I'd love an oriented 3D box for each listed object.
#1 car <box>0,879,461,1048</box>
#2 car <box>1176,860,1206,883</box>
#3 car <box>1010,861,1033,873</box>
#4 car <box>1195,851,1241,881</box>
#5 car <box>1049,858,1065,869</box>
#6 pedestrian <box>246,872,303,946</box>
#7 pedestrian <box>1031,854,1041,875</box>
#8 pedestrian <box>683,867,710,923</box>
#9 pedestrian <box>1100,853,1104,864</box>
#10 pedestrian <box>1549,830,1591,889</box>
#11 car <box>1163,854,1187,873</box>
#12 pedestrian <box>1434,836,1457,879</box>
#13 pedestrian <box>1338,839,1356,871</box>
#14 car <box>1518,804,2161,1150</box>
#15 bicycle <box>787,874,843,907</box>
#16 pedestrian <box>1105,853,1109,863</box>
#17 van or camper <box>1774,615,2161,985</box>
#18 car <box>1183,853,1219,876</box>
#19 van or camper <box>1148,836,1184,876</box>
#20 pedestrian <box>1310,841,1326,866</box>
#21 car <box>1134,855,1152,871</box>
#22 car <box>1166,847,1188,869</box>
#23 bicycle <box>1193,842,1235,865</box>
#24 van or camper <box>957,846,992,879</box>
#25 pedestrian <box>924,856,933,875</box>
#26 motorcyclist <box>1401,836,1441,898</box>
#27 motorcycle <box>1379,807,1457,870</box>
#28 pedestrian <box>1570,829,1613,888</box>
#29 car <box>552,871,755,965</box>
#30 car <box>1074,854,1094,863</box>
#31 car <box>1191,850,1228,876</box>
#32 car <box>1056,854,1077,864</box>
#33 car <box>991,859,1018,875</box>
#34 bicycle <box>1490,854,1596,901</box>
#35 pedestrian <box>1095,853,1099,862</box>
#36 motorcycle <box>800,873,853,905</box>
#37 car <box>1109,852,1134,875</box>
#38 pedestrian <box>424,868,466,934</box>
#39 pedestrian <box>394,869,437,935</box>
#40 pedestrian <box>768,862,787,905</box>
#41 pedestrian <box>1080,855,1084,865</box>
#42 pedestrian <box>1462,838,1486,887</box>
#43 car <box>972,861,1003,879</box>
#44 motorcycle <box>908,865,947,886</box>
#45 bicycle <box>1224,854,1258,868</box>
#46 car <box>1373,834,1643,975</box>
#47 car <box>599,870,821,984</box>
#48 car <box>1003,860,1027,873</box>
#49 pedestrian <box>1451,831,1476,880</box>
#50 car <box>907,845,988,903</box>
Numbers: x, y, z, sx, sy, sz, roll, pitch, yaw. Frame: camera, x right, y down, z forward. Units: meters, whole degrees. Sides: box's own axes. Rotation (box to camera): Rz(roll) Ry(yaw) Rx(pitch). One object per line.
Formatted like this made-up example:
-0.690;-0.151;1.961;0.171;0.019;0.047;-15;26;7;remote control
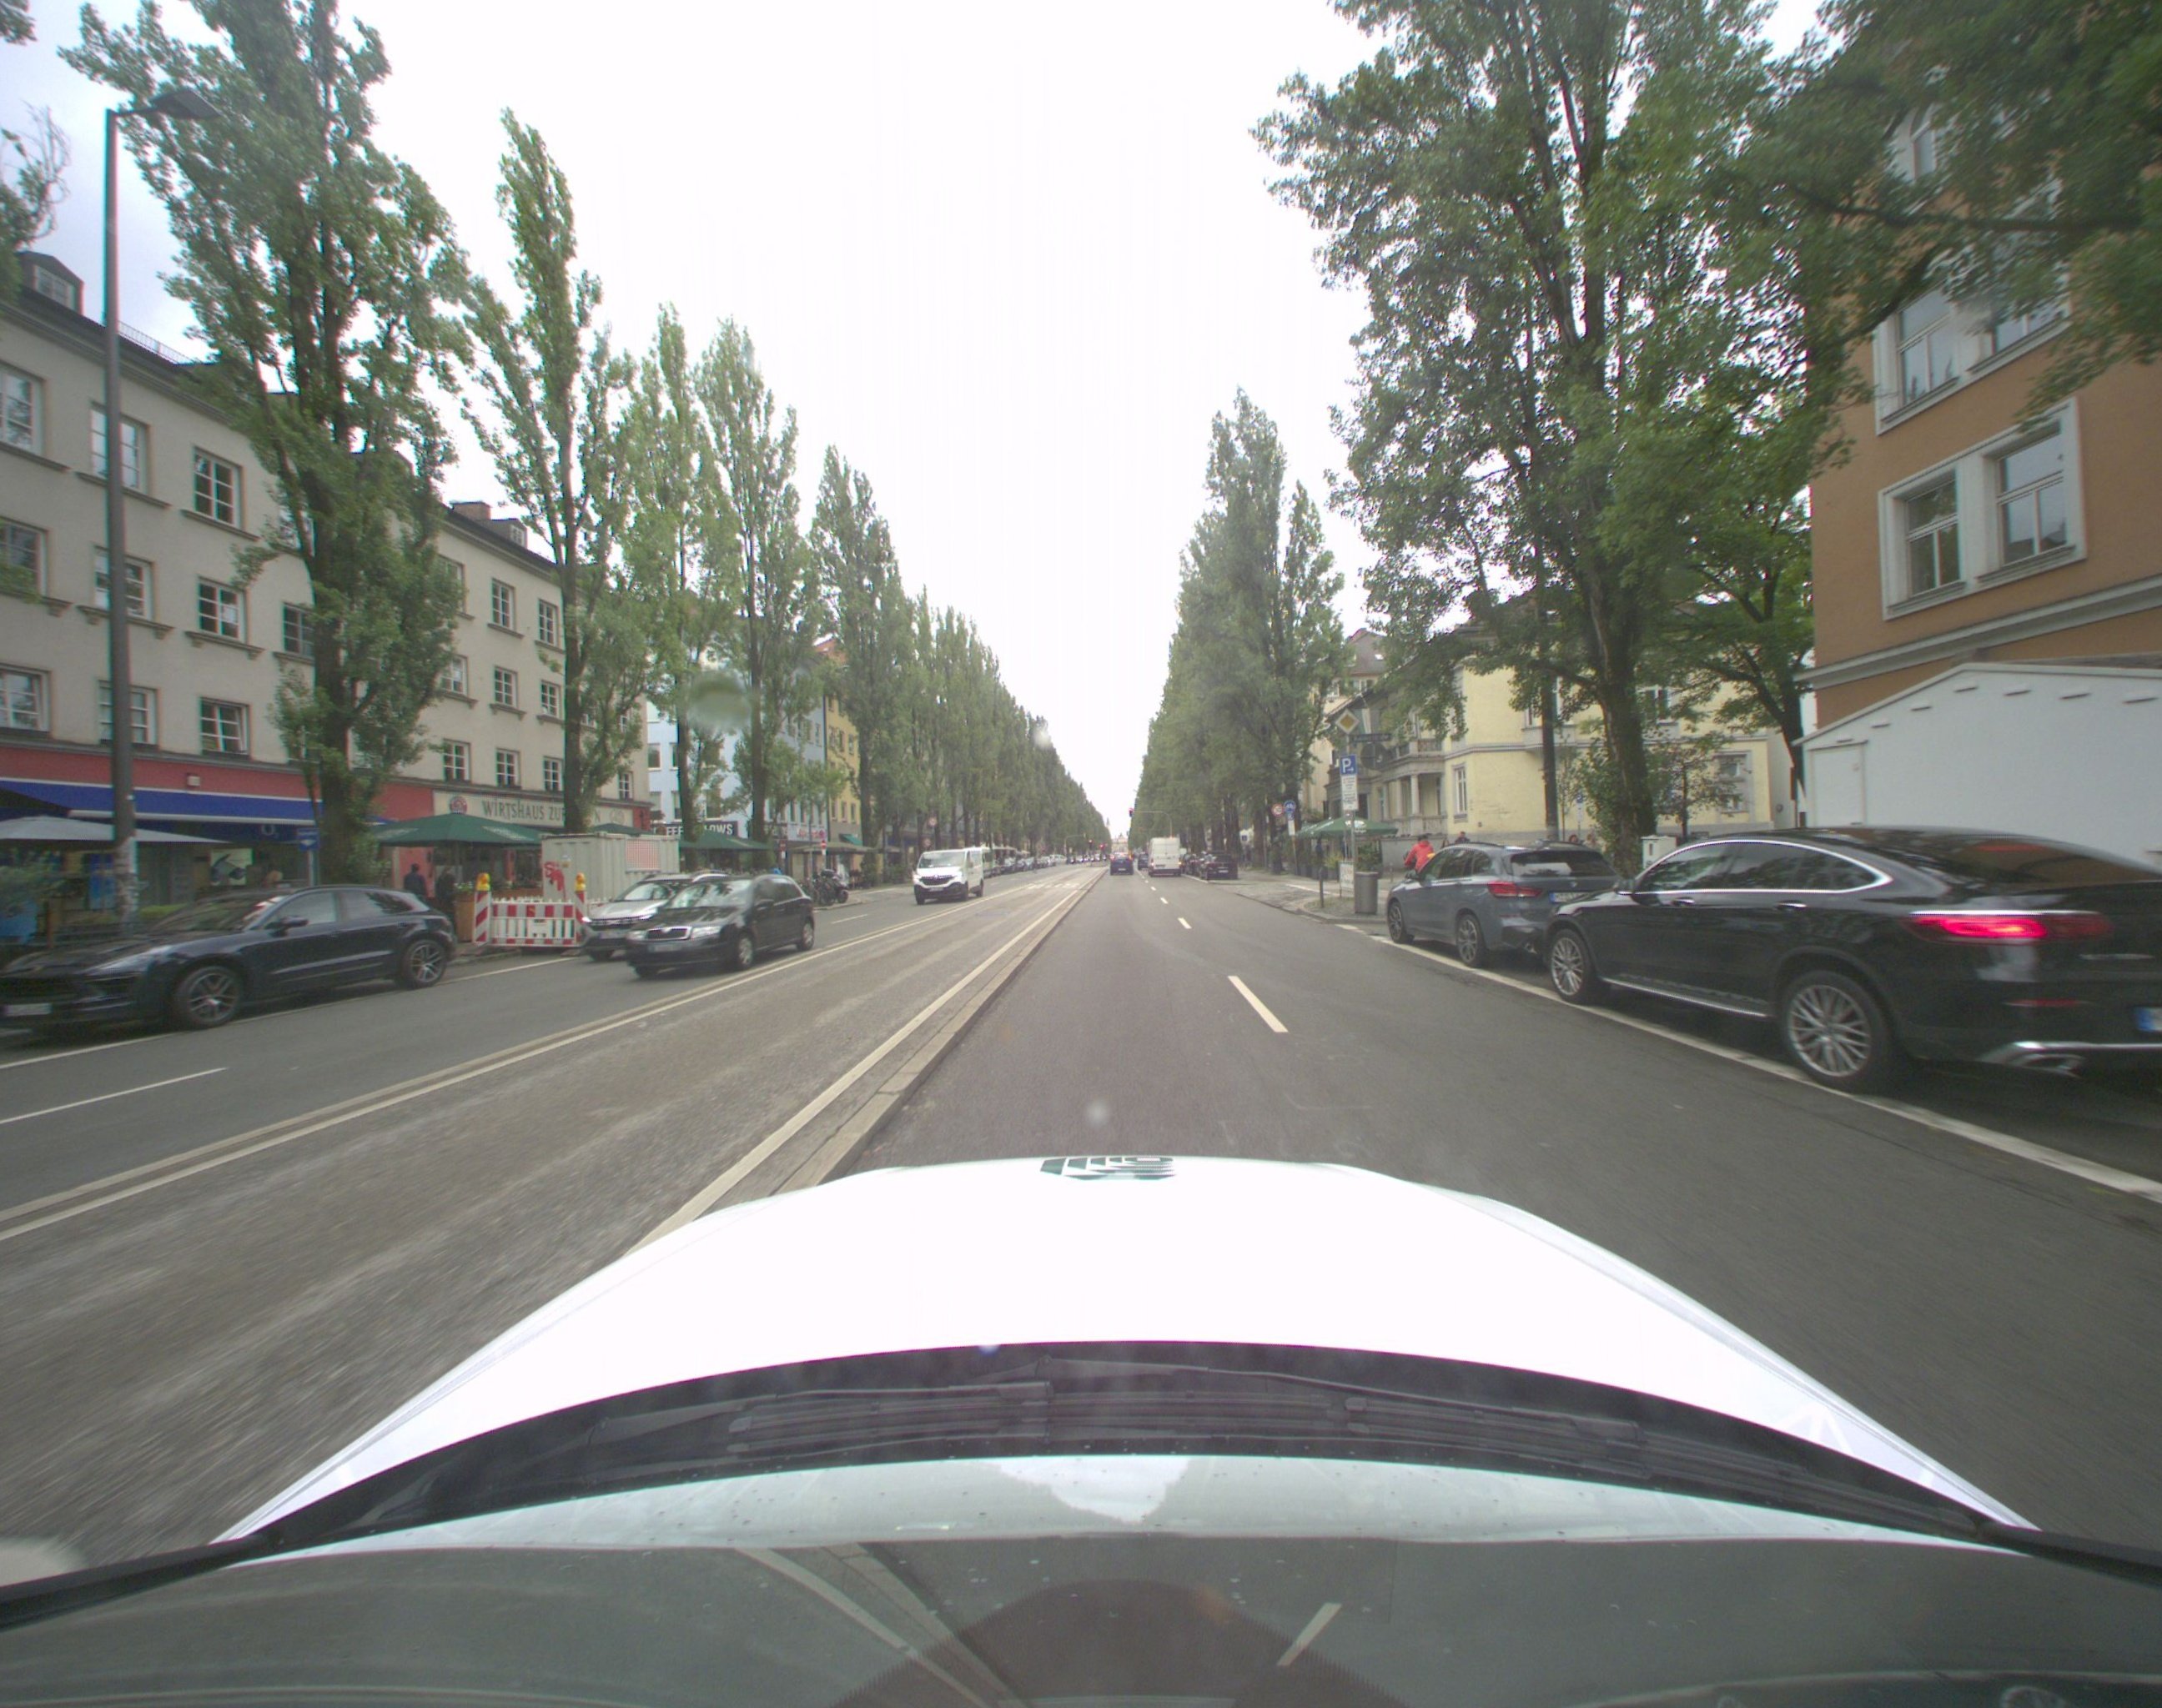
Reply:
-10.948;1.241;10.807;1.840;1.564;4.337;-3;0;4;car
8.069;1.273;60.053;1.797;1.596;4.002;-1;-1;2;car
-7.004;1.518;96.421;1.983;1.420;4.006;-1;-1;6;car
7.550;0.631;45.207;1.937;1.467;4.001;-3;0;1;car
-3.695;1.423;126.078;1.808;1.531;3.803;-6;-1;5;car
-19.318;1.313;19.512;0.636;1.700;0.648;-2;0;2;pedestrian
-4.433;1.036;80.459;0.805;2.013;0.721;-2;0;7;pedestrian
-11.900;1.254;25.194;0.479;1.701;0.576;-2;0;2;pedestrian
3.604;0.735;137.497;0.551;1.716;0.493;-3;0;3;pedestrian
13.862;0.146;23.102;0.684;1.628;0.776;-2;0;0;pedestrian
8.182;0.836;71.350;1.755;1.596;4.002;-1;-1;2;car
14.116;0.148;31.568;0.644;1.647;0.768;-1;-1;11;pedestrian
16.210;0.062;49.657;0.758;1.853;0.740;-3;0;-1;pedestrian
5.472;0.572;6.226;1.873;1.642;4.585;-3;0;2;car
-10.019;1.356;30.695;1.853;1.137;0.673;-3;0;-3;bicycle
4.485;0.661;138.702;0.551;1.716;0.493;-3;0;3;pedestrian
10.420;-0.512;8.464;2.450;3.112;4.719;-3;0;3;van or camper
8.158;0.709;55.814;1.986;1.464;4.002;-1;-1;2;car
5.538;0.159;53.662;2.027;2.475;4.002;-2;-2;2;van or camper
17.044;-0.056;58.535;0.805;1.755;0.939;-3;0;34;pedestrian
5.727;0.809;74.973;1.498;1.313;3.285;-2;0;2;car
9.112;0.364;77.417;1.797;1.992;4.002;-1;-1;2;car
11.756;-0.033;71.987;3.526;2.014;1.301;-1;-1;11;bicycle
-8.378;0.634;64.324;1.986;2.458;4.253;-2;0;2;van or camper
-15.118;1.169;80.751;0.580;1.856;0.675;-2;0;2;pedestrian
8.104;0.302;19.438;0.562;1.406;0.765;-3;0;-1;motorcyclist
8.013;-0.351;19.509;0.824;1.370;2.251;-3;0;-1;motorcycle
14.582;0.136;23.265;0.684;1.628;0.776;-2;0;0;pedestrian
-8.369;1.176;16.399;1.819;1.532;4.001;-3;-1;1;car
0.566;0.934;161.318;3.979;1.745;1.997;-1;-1;-4;car
7.969;0.545;50.643;1.778;1.525;3.942;-2;0;2;car
-2.826;0.955;158.932;3.981;1.745;1.996;-1;-1;-6;car
-7.502;1.321;80.291;1.985;1.486;4.004;-1;-1;4;car
10.951;0.553;19.355;2.041;1.023;0.693;-2;0;9;bicycle
3.510;0.773;177.404;0.767;2.014;0.898;-1;-1;2;pedestrian
-10.153;1.389;32.479;1.853;1.137;0.673;-3;0;-3;motorcycle
3.014;0.684;60.116;1.752;1.619;3.750;-1;-1;3;car
-18.588;1.373;23.827;0.636;1.862;0.648;-2;0;2;pedestrian
-19.338;1.384;23.678;0.636;1.862;0.648;-2;0;2;pedestrian
-13.014;1.256;34.916;0.666;1.787;0.826;-1;-1;-14;pedestrian
0.239;0.983;136.923;0.551;1.716;0.493;-3;0;3;pedestrian
13.447;0.295;27.871;0.662;1.650;0.630;-2;0;29;pedestrian
-8.092;1.369;70.807;1.985;1.475;4.003;-1;-1;3;car
-9.524;1.342;50.801;1.231;1.140;3.725;-2;0;7;motorcycle
11.854;0.535;60.531;0.764;1.023;2.706;-2;0;-32;bicycle
5.738;0.581;11.637;1.617;1.565;4.373;-3;0;2;car
-5.717;1.049;13.110;1.705;1.414;3.724;-3;0;2;car
-7.393;1.438;91.195;1.983;1.420;4.006;-1;-1;6;car
14.901;0.063;31.750;0.696;1.873;0.768;-1;-1;11;pedestrian
-5.030;0.742;31.325;1.986;1.934;4.920;-4;-1;2;car
